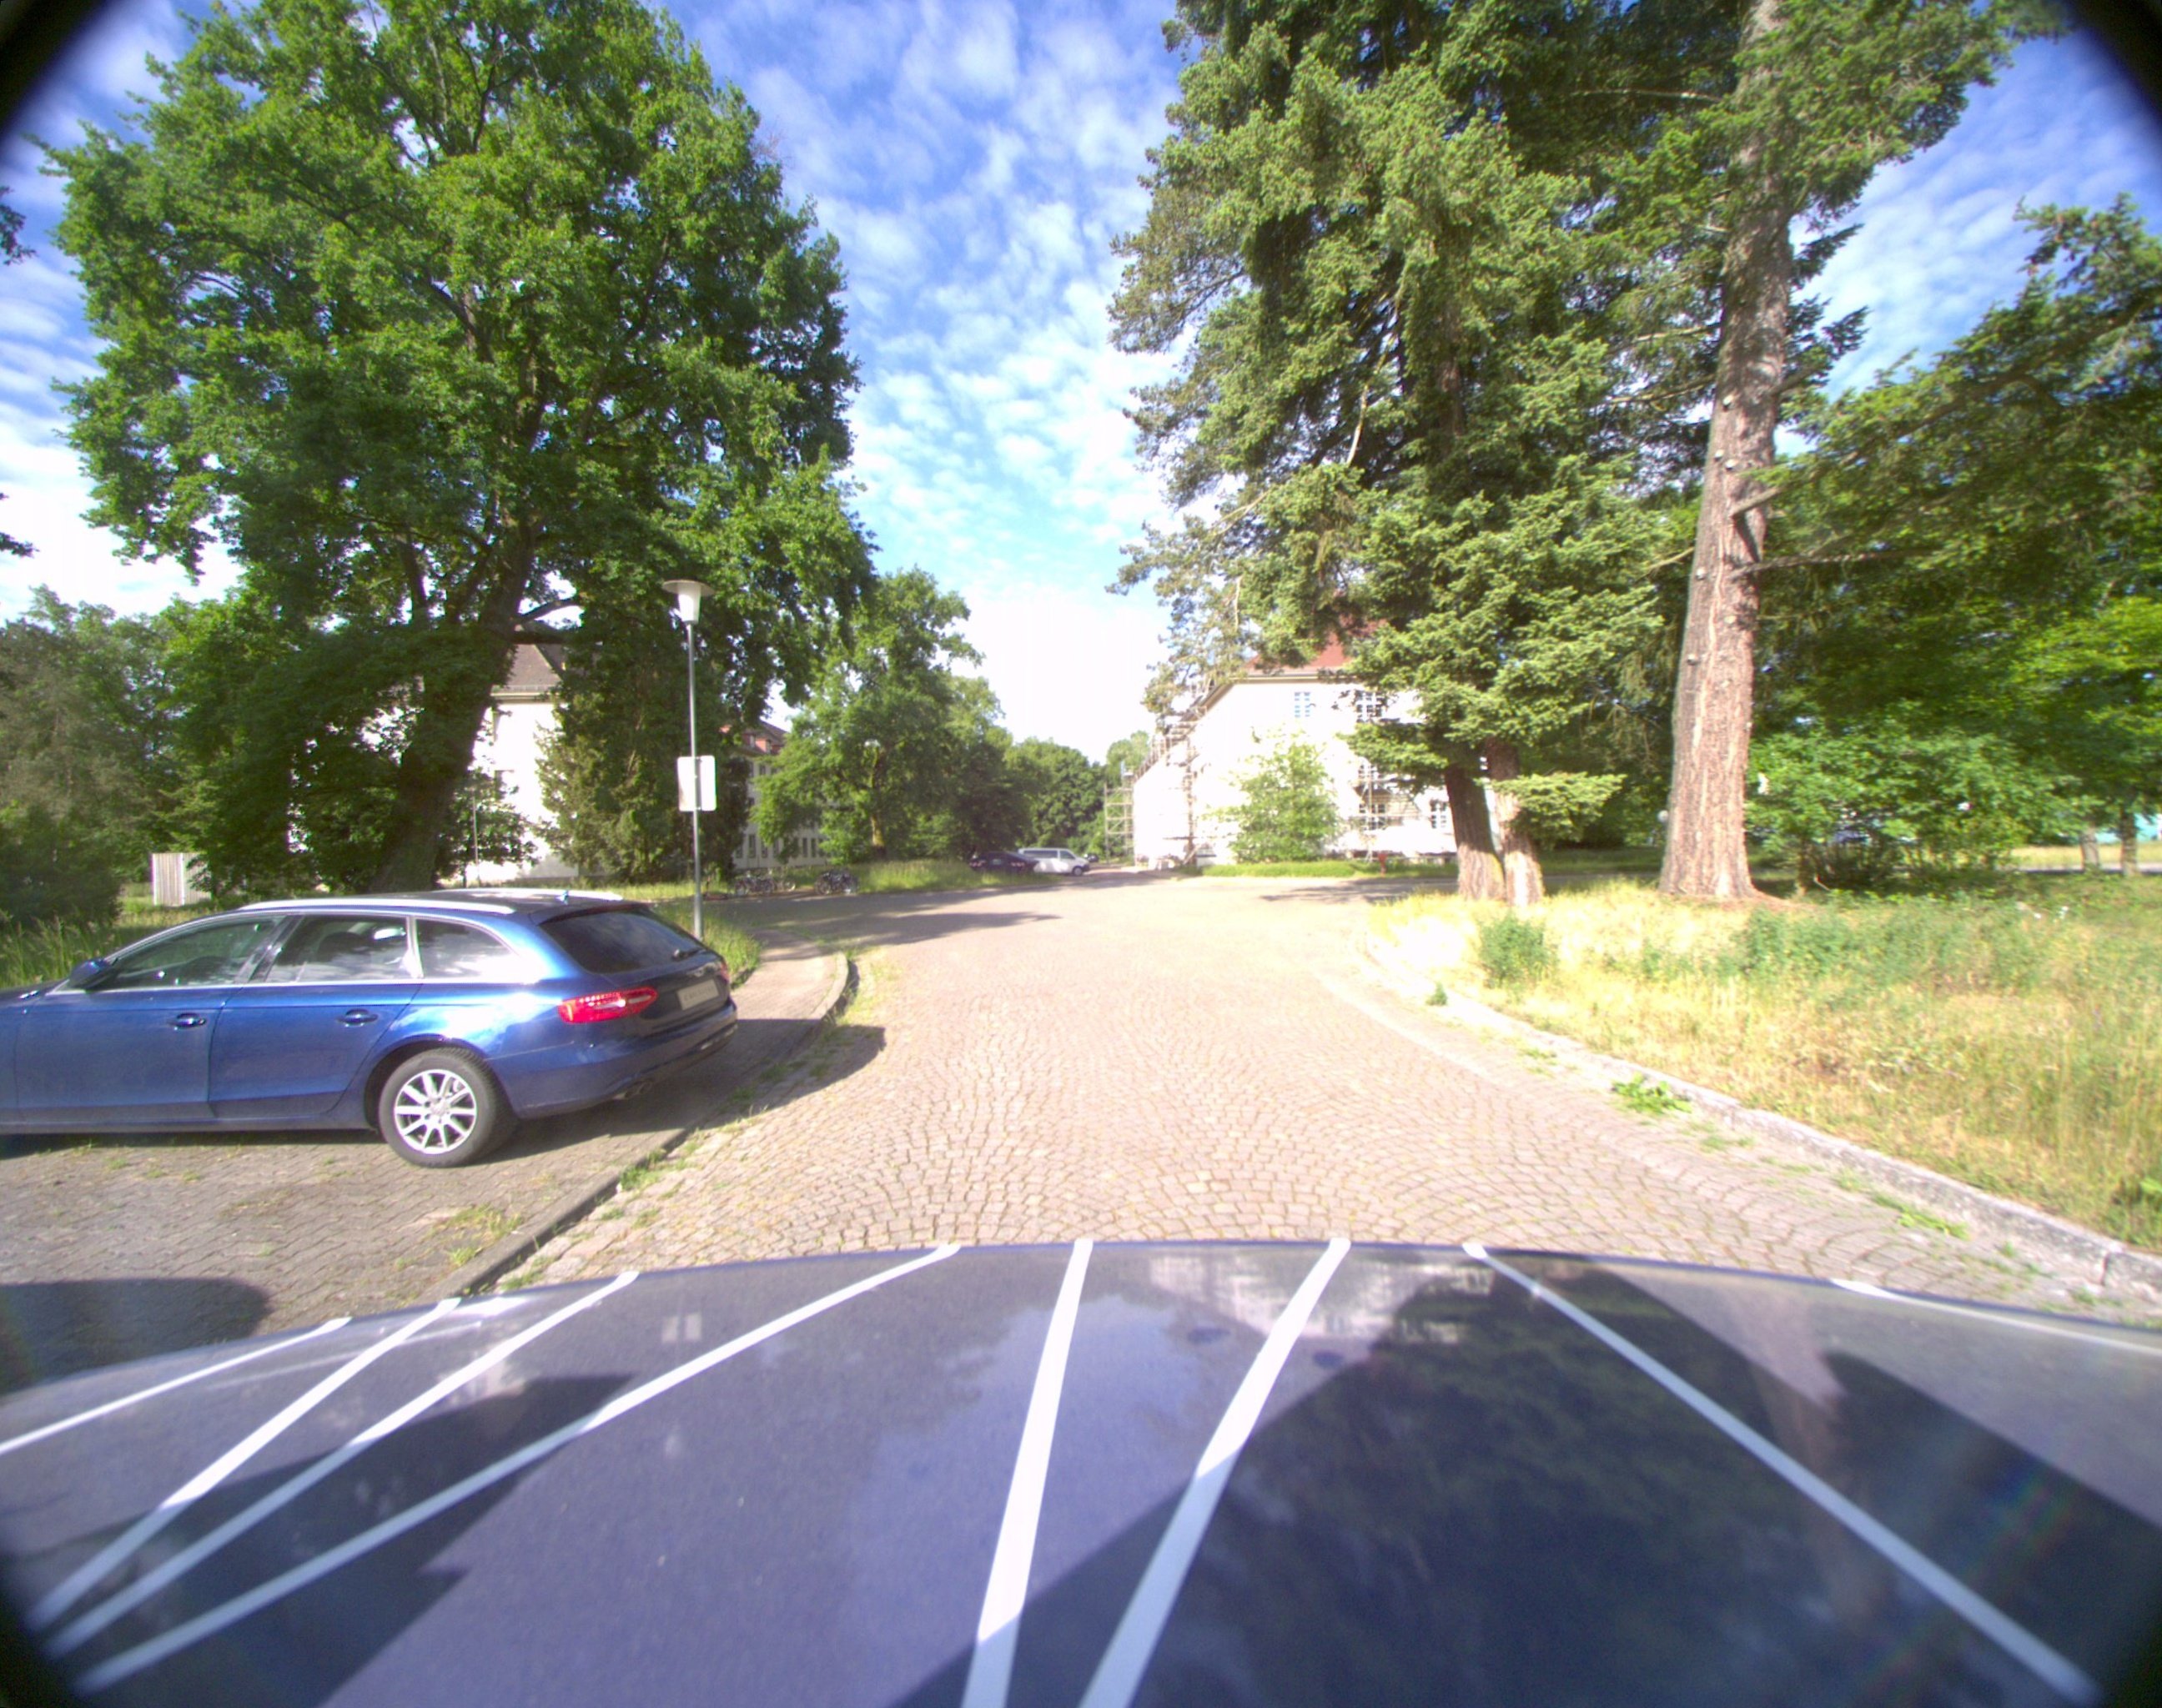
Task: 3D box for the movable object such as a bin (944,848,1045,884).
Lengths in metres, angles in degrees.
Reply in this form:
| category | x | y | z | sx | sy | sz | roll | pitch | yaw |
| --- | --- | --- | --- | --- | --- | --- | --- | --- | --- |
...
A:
| category | x | y | z | sx | sy | sz | roll | pitch | yaw |
| --- | --- | --- | --- | --- | --- | --- | --- | --- | --- |
| movable object such as a bin | -4.595 | 0.644 | 40.620 | 4.932 | 1.749 | 2.002 | -1 | 1 | 13 |

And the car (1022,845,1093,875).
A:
| category | x | y | z | sx | sy | sz | roll | pitch | yaw |
| --- | --- | --- | --- | --- | --- | --- | --- | --- | --- |
| car | -1.643 | 0.406 | 53.718 | 4.937 | 2.002 | 2.000 | -2 | 1 | -1 |

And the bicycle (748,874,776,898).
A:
| category | x | y | z | sx | sy | sz | roll | pitch | yaw |
| --- | --- | --- | --- | --- | --- | --- | --- | --- | --- |
| bicycle | -14.162 | 1.403 | 33.797 | 0.710 | 1.010 | 1.027 | -1 | 1 | 6 |

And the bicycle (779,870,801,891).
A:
| category | x | y | z | sx | sy | sz | roll | pitch | yaw |
| --- | --- | --- | --- | --- | --- | --- | --- | --- | --- |
| bicycle | -14.542 | 1.326 | 37.908 | 0.712 | 1.010 | 1.024 | -2 | 1 | -39 |

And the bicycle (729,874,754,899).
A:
| category | x | y | z | sx | sy | sz | roll | pitch | yaw |
| --- | --- | --- | --- | --- | --- | --- | --- | --- | --- |
| bicycle | -14.917 | 1.420 | 33.405 | 0.619 | 1.010 | 1.027 | -1 | 1 | 1 |

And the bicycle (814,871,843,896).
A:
| category | x | y | z | sx | sy | sz | roll | pitch | yaw |
| --- | --- | --- | --- | --- | --- | --- | --- | --- | --- |
| bicycle | -11.003 | 1.284 | 33.200 | 0.710 | 1.010 | 1.256 | -1 | 1 | 6 |

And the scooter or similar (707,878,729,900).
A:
| category | x | y | z | sx | sy | sz | roll | pitch | yaw |
| --- | --- | --- | --- | --- | --- | --- | --- | --- | --- |
| scooter or similar | -15.572 | 1.499 | 32.569 | 0.770 | 0.924 | 0.261 | -2 | 1 | -7 |

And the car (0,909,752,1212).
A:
| category | x | y | z | sx | sy | sz | roll | pitch | yaw |
| --- | --- | --- | --- | --- | --- | --- | --- | --- | --- |
| car | -4.658 | 1.108 | 4.742 | 4.460 | 1.399 | 1.714 | 0 | 1 | 1 |

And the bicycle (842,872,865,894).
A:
| category | x | y | z | sx | sy | sz | roll | pitch | yaw |
| --- | --- | --- | --- | --- | --- | --- | --- | --- | --- |
| bicycle | -10.052 | 1.285 | 33.628 | 0.747 | 0.929 | 1.140 | -2 | 1 | -4 |
